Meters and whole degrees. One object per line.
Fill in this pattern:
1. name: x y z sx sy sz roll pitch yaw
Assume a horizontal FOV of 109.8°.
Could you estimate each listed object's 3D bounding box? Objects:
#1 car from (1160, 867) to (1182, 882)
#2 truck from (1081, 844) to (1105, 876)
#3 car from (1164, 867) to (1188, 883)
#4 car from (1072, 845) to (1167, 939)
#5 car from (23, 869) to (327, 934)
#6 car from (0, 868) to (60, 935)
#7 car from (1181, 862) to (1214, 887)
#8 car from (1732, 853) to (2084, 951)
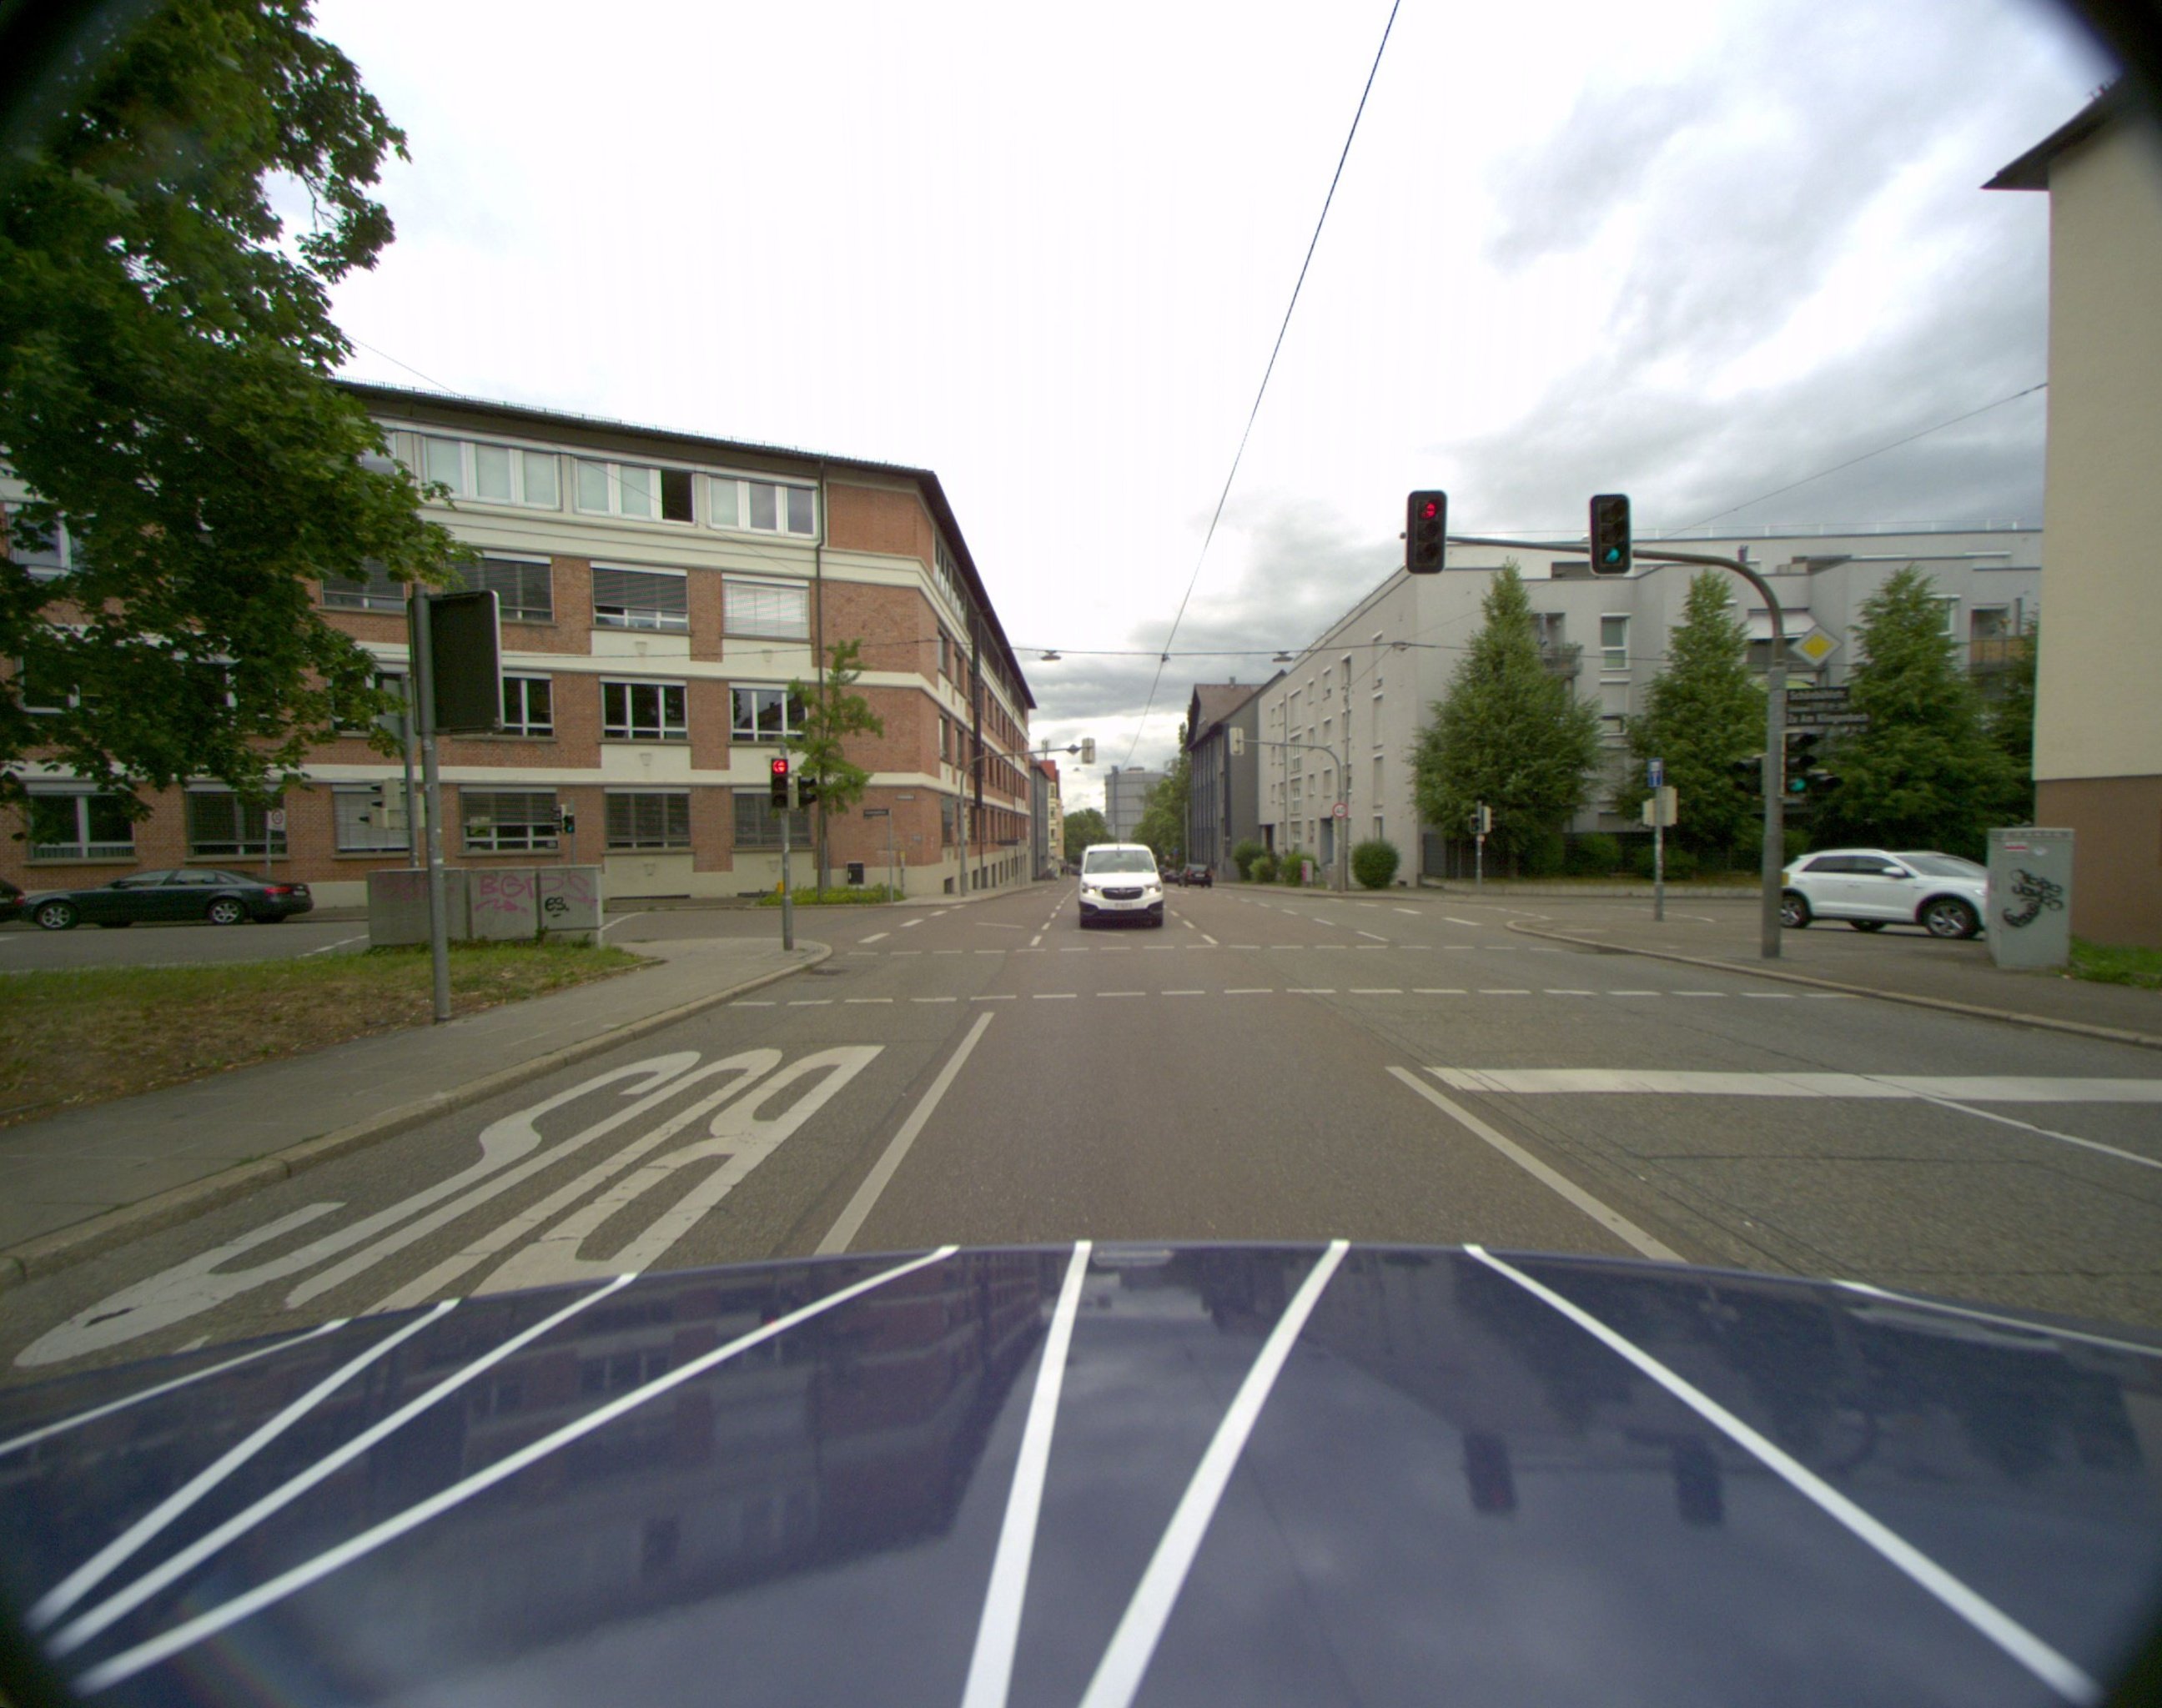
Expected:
1. car: 8.795 1.961 74.688 1.799 1.401 4.000 0 0 1
2. truck: 1.412 0.665 85.822 2.545 3.478 8.522 0 0 1
3. car: 8.544 1.857 68.739 1.799 1.401 4.000 0 0 1
4. car: 0.816 0.813 17.281 1.850 1.831 4.285 -2 -1 1
5. car: -21.701 1.120 18.481 4.425 1.396 1.771 0 -3 -21
6. car: -26.402 1.100 16.715 4.402 1.500 1.771 0 -3 -21
7. car: 7.209 1.249 47.215 1.591 1.455 3.616 0 0 1
8. car: 14.941 0.821 14.174 1.819 1.527 4.260 1 -1 -3
